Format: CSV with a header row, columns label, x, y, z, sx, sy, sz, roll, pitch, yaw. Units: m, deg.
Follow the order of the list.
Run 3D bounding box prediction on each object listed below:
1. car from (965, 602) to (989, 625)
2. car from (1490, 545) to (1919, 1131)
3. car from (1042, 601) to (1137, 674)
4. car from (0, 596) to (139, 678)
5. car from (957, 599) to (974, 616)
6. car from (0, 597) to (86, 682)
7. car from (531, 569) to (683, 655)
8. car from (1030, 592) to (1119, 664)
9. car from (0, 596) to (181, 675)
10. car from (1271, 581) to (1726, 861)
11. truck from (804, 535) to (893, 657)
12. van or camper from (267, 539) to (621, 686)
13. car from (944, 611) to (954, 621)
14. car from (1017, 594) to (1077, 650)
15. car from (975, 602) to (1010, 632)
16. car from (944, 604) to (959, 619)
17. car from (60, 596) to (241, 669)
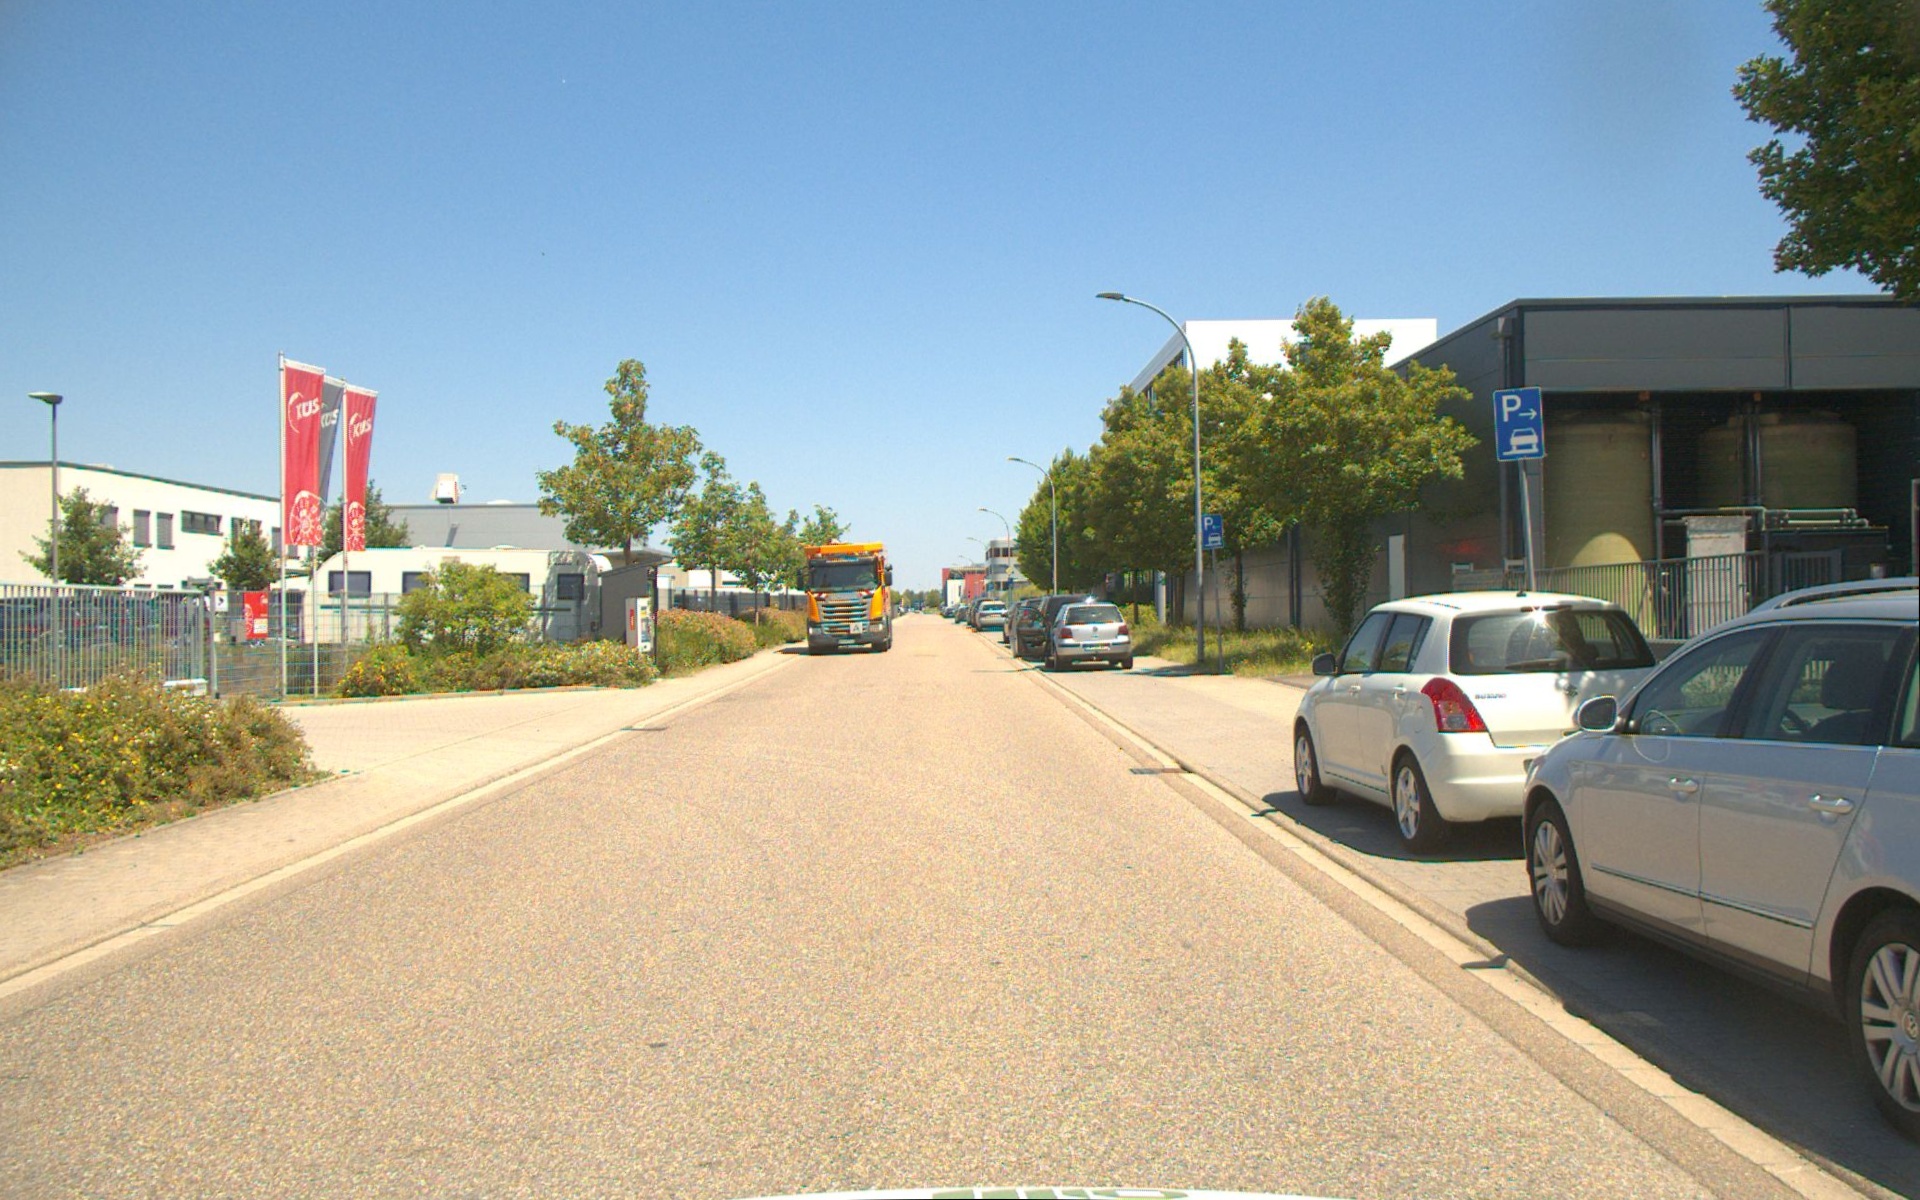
label,x,y,z,sx,sy,sz,roll,pitch,yaw
car,1.084,0.849,106.846,1.465,1.434,3.499,-1,0,-1
car,3.430,0.628,5.660,1.713,1.589,4.505,-2,0,0
car,2.822,0.793,36.681,1.683,1.475,3.645,-2,0,-1
car,-22.111,0.886,39.580,3.907,1.847,1.916,-1,0,-2
car,0.486,0.686,147.981,1.465,1.434,3.499,-1,0,-1
car,-22.108,0.903,37.132,3.907,1.847,1.916,-1,0,-2
car,-11.576,0.380,54.528,4.623,2.631,1.998,-1,0,-5
car,2.914,0.682,42.738,1.645,1.716,3.996,-1,0,-5
car,-22.177,0.876,41.905,3.907,1.847,1.916,-1,0,-2
car,3.373,0.661,11.125,1.603,1.494,3.743,-2,0,-4
truck,-3.541,-0.151,54.103,2.399,3.574,8.270,-2,1,-1
van or camper,-11.768,0.258,38.215,7.236,3.090,2.789,-1,0,-2
car,-1.662,2.489,258.975,1.465,1.434,3.499,-1,0,-1
car,2.834,0.679,54.484,1.686,1.724,3.984,-1,0,0
car,1.626,0.822,83.684,1.553,1.434,3.499,-1,0,-1
car,-0.842,1.165,163.857,1.465,1.434,3.499,-1,0,-1
car,-21.975,0.853,45.013,3.907,1.847,1.916,-1,0,-2
